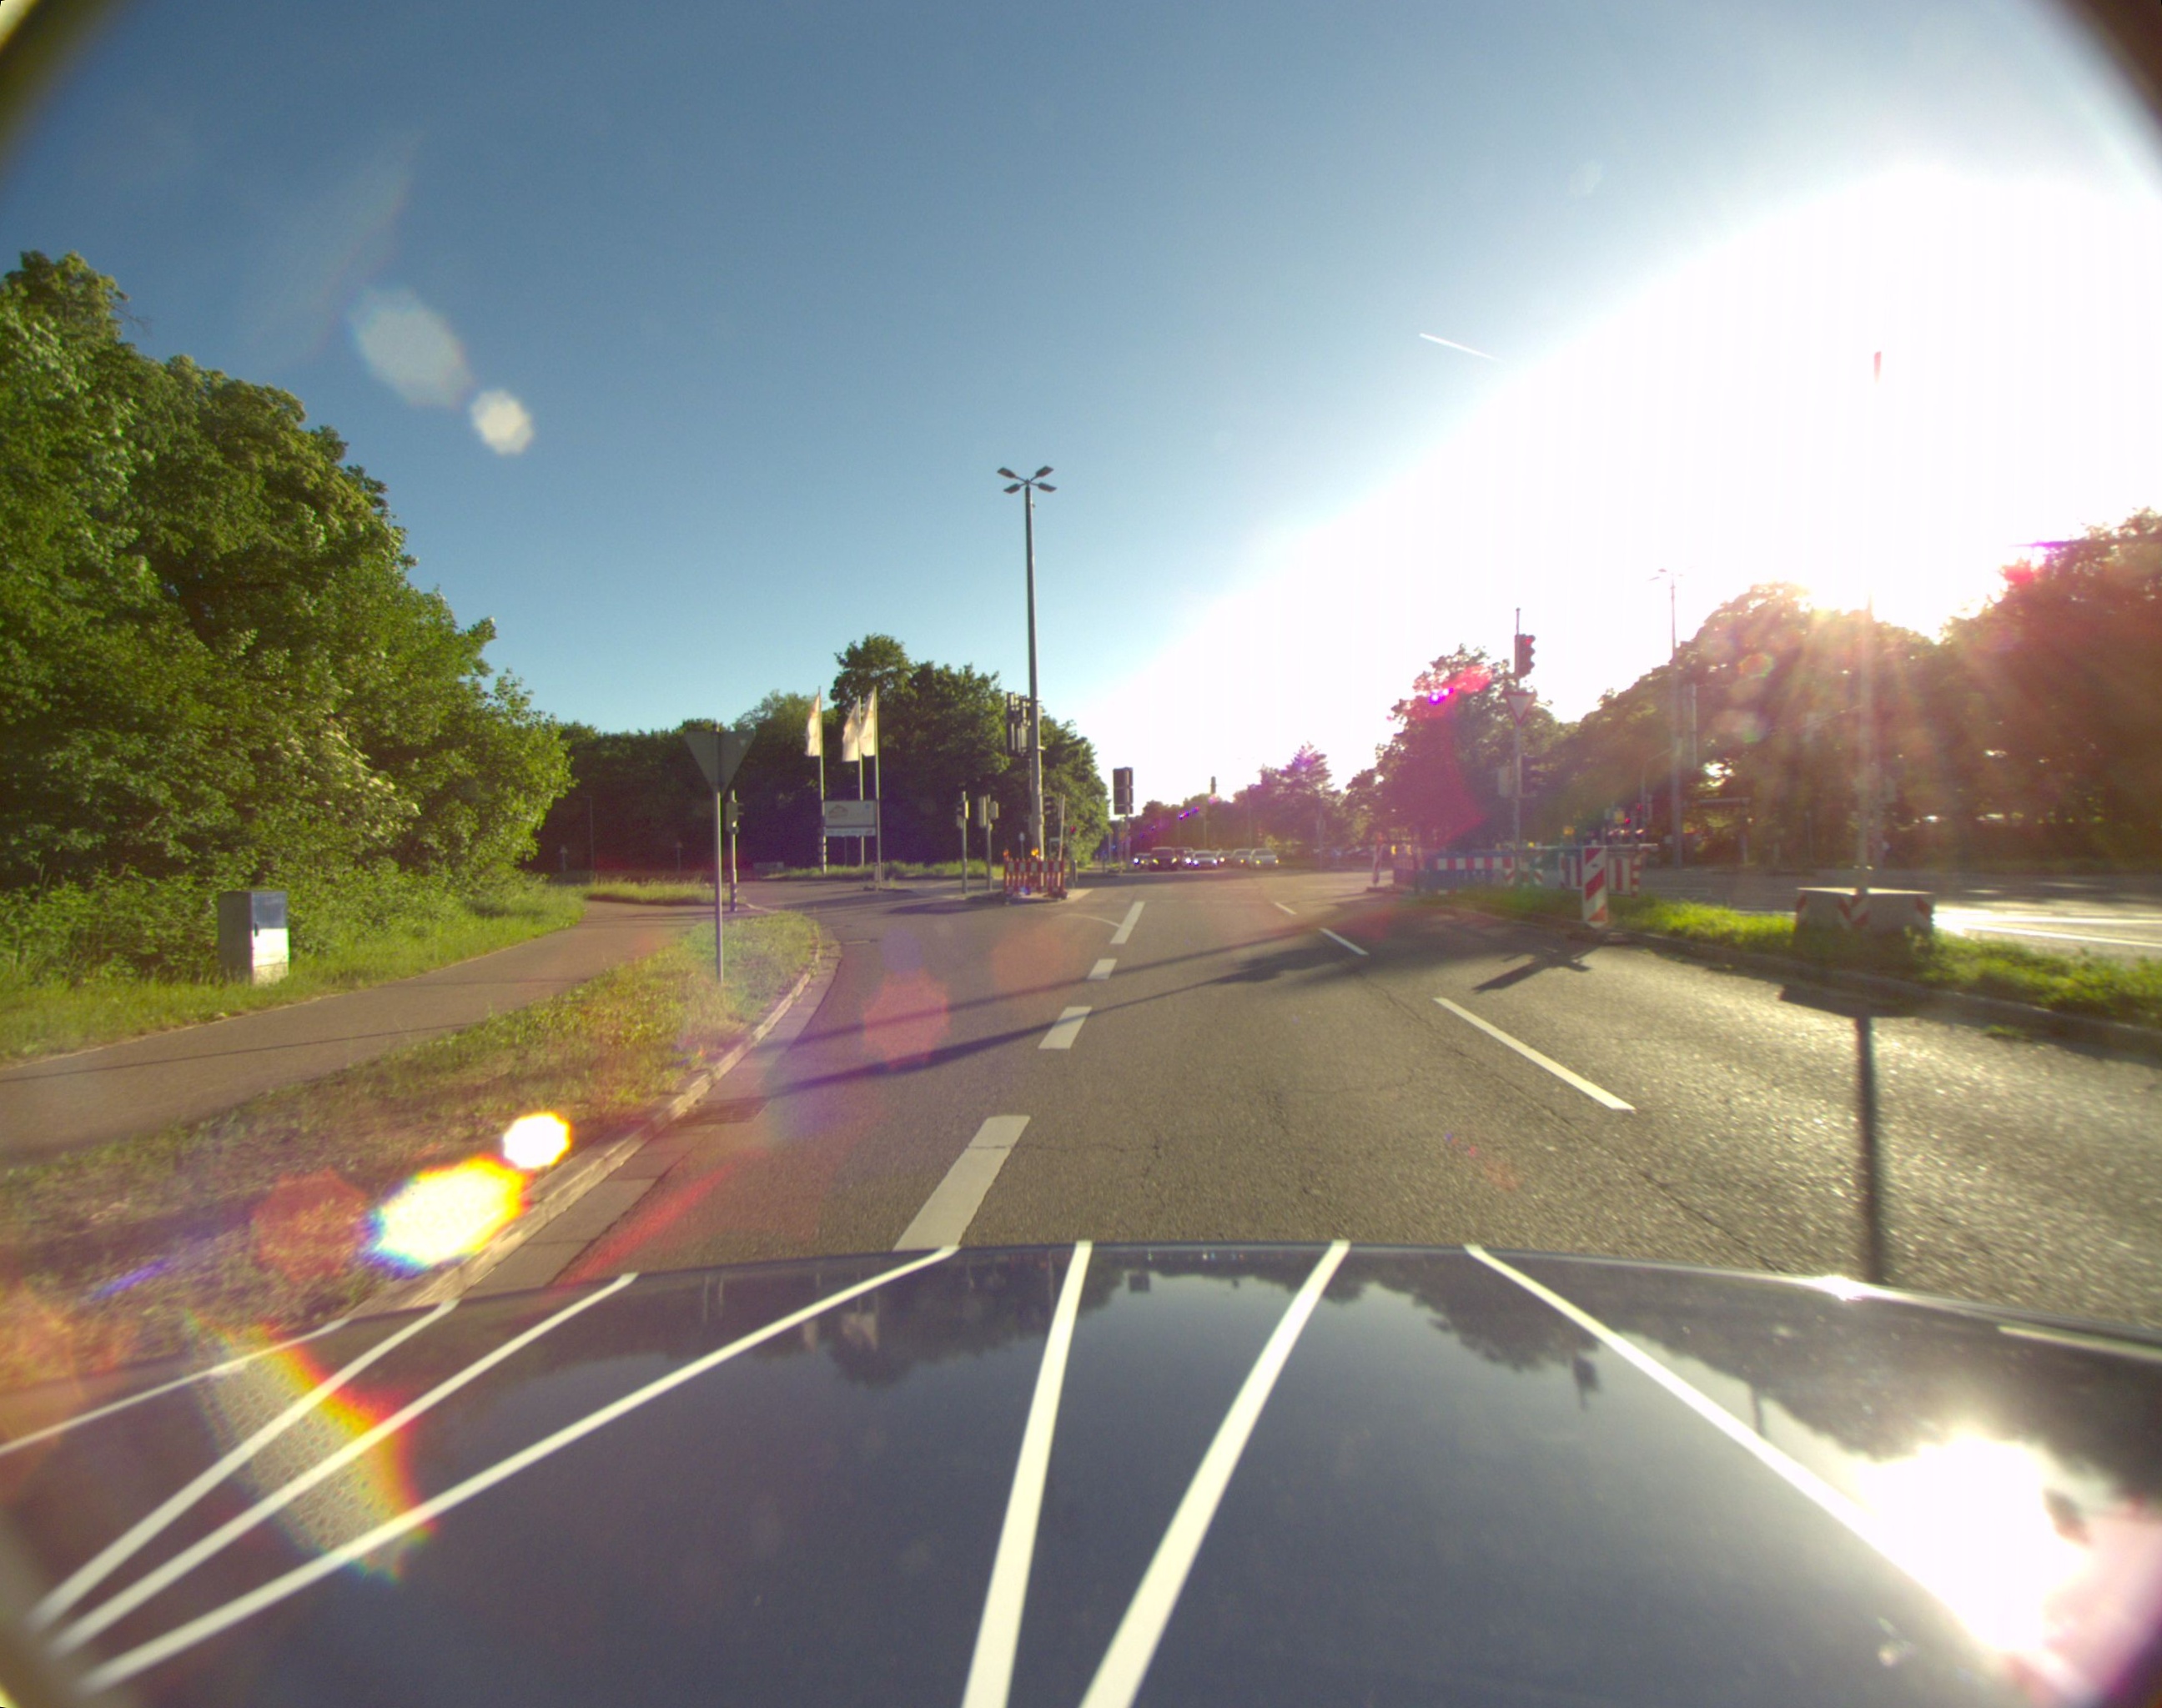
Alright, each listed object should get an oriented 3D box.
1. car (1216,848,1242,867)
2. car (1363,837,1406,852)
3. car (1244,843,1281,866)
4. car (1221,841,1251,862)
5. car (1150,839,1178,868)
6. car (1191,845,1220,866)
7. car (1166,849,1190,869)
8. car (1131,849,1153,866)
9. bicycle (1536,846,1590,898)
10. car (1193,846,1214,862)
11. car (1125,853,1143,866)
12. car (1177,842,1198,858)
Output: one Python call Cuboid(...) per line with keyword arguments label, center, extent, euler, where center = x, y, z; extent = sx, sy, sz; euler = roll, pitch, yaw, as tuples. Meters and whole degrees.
Cuboid(label="car", center=(13.668, 0.308, 70.176), extent=(1.997, 1.510, 4.001), euler=(-2, 1, 6))
Cuboid(label="car", center=(34.279, -1.111, 85.971), extent=(3.999, 1.510, 1.998), euler=(-3, 2, -5))
Cuboid(label="car", center=(12.635, 0.026, 53.049), extent=(1.997, 1.510, 4.001), euler=(-1, 1, 6))
Cuboid(label="car", center=(12.594, -0.213, 62.114), extent=(1.997, 1.510, 4.001), euler=(-2, 1, 6))
Cuboid(label="car", center=(6.498, -0.071, 59.309), extent=(1.997, 2.057, 4.001), euler=(-2, 1, 6))
Cuboid(label="car", center=(9.816, 0.096, 59.992), extent=(1.997, 1.510, 4.001), euler=(-2, 1, 6))
Cuboid(label="car", center=(8.620, 0.423, 67.739), extent=(1.997, 1.510, 4.001), euler=(-2, 1, 6))
Cuboid(label="car", center=(6.016, 0.324, 74.819), extent=(1.997, 1.510, 4.001), euler=(-2, 1, 6))
Cuboid(label="bicycle", center=(8.975, 0.317, 14.189), extent=(0.339, 0.900, 1.347), euler=(-2, 2, 9))
Cuboid(label="car", center=(12.722, -0.001, 79.113), extent=(1.997, 1.510, 4.001), euler=(-2, 1, 6))
Cuboid(label="car", center=(6.638, 0.675, 95.148), extent=(1.997, 1.510, 4.001), euler=(-2, 1, 6))
Cuboid(label="car", center=(10.969, -0.397, 78.303), extent=(1.997, 1.510, 4.001), euler=(-2, 1, 6))
